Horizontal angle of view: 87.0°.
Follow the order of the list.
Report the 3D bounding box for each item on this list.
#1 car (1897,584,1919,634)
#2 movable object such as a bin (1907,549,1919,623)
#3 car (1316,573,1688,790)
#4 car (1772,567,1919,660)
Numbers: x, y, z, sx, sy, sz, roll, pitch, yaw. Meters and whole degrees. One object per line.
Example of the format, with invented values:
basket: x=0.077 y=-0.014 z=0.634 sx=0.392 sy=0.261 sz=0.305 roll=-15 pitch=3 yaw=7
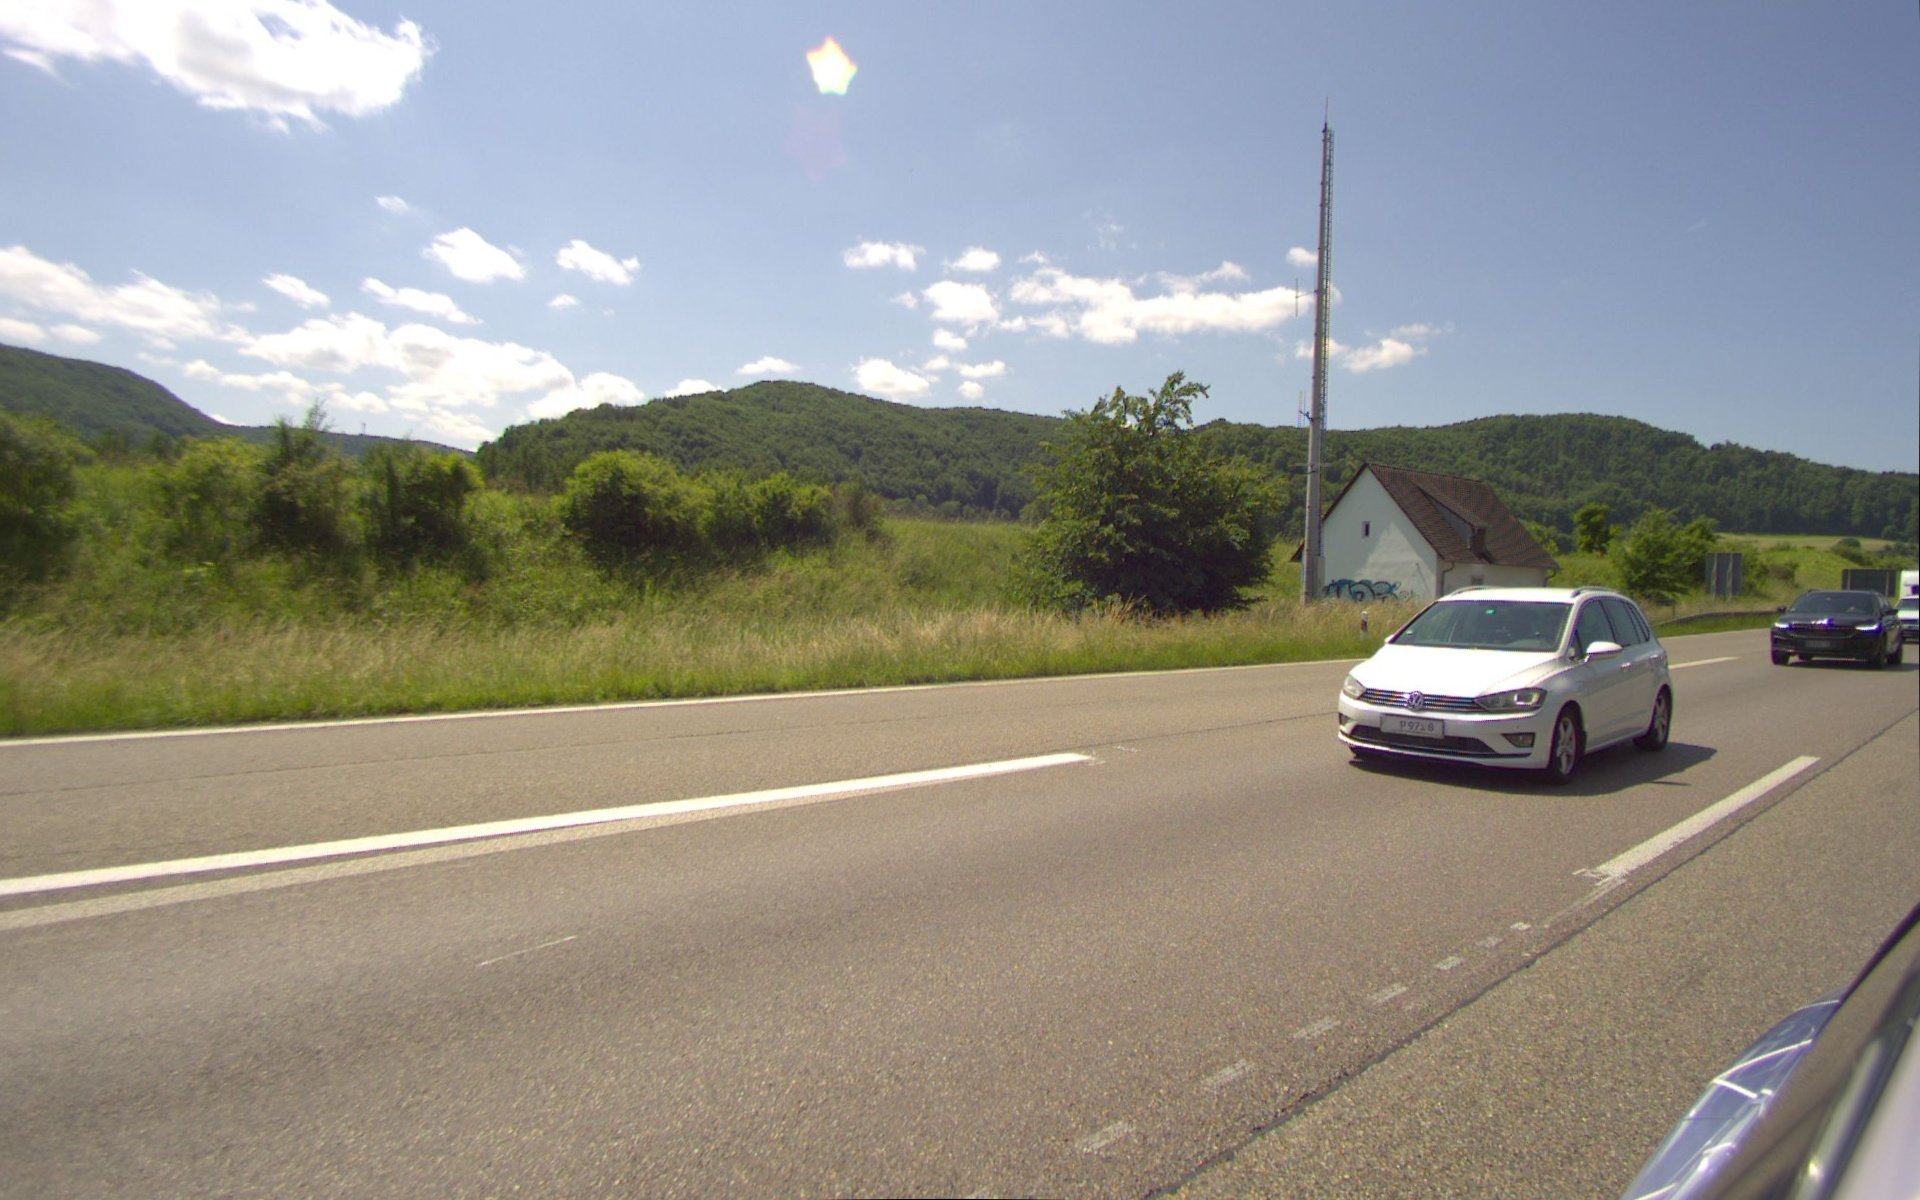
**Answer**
car: x=32.460 y=0.294 z=33.363 sx=3.929 sy=1.603 sz=1.820 roll=0 pitch=1 yaw=-40
movable object such as a bin: x=37.812 y=-0.493 z=38.049 sx=6.590 sy=2.665 sz=2.480 roll=0 pitch=1 yaw=-40
car: x=5.103 y=0.558 z=9.294 sx=3.985 sy=1.560 sz=1.775 roll=0 pitch=1 yaw=-42
car: x=19.363 y=0.243 z=21.965 sx=4.097 sy=1.794 sz=1.893 roll=0 pitch=2 yaw=-40
